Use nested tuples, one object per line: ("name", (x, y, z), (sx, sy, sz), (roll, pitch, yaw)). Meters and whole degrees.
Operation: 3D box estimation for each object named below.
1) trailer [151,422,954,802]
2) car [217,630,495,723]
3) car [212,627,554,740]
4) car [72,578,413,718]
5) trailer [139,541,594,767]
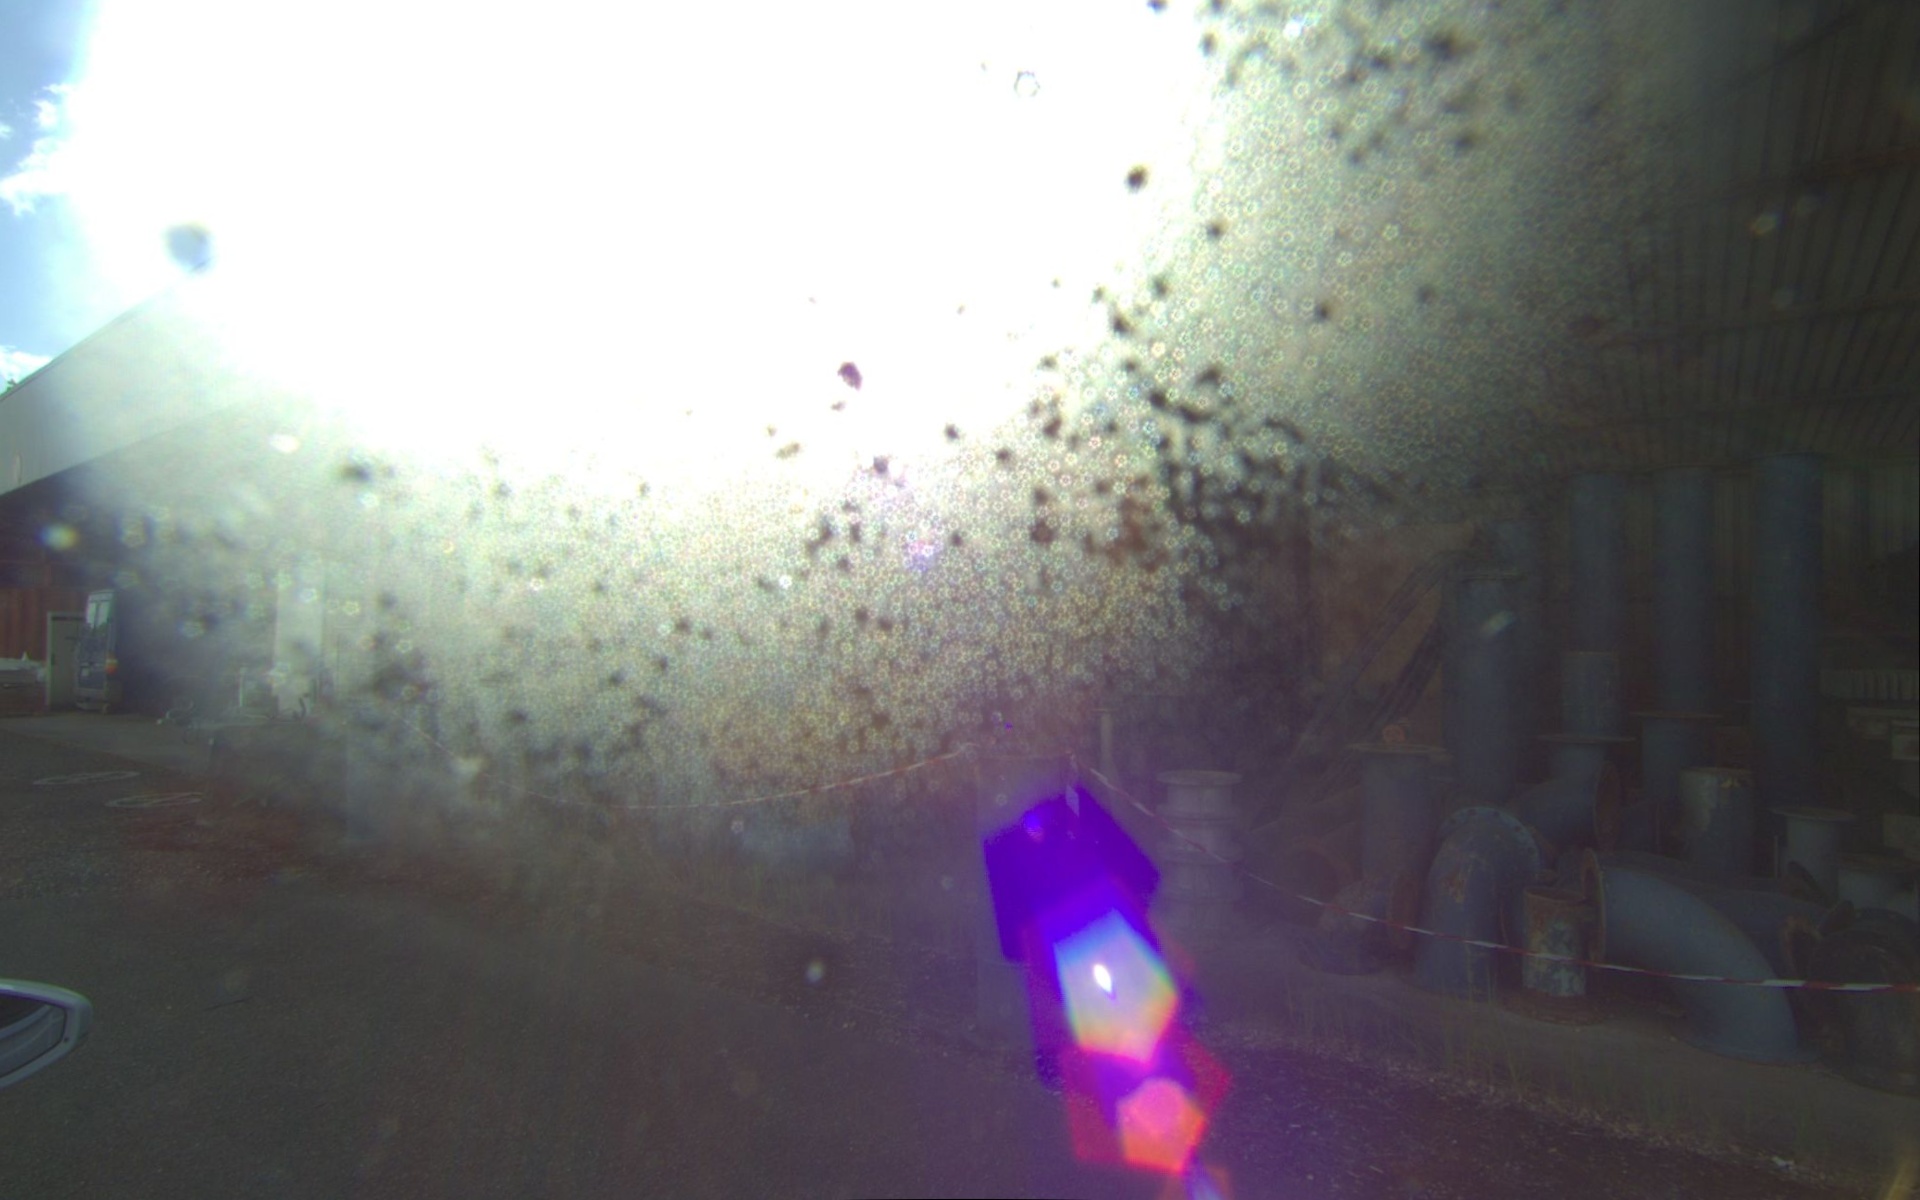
("trailer", (-4.185, 0.330, 13.472), (2.817, 3.256, 10.010), (-1, -3, 36))
("car", (-10.844, 1.332, 18.260), (1.763, 1.491, 3.982), (-1, -3, 32))
("car", (-8.854, 1.232, 15.748), (1.753, 1.514, 4.320), (-1, -3, 34))
("car", (-13.649, 0.938, 19.382), (1.974, 2.354, 4.965), (-1, -3, 37))
("trailer", (-7.519, 0.690, 13.156), (1.806, 2.421, 4.791), (-1, -3, 41))
